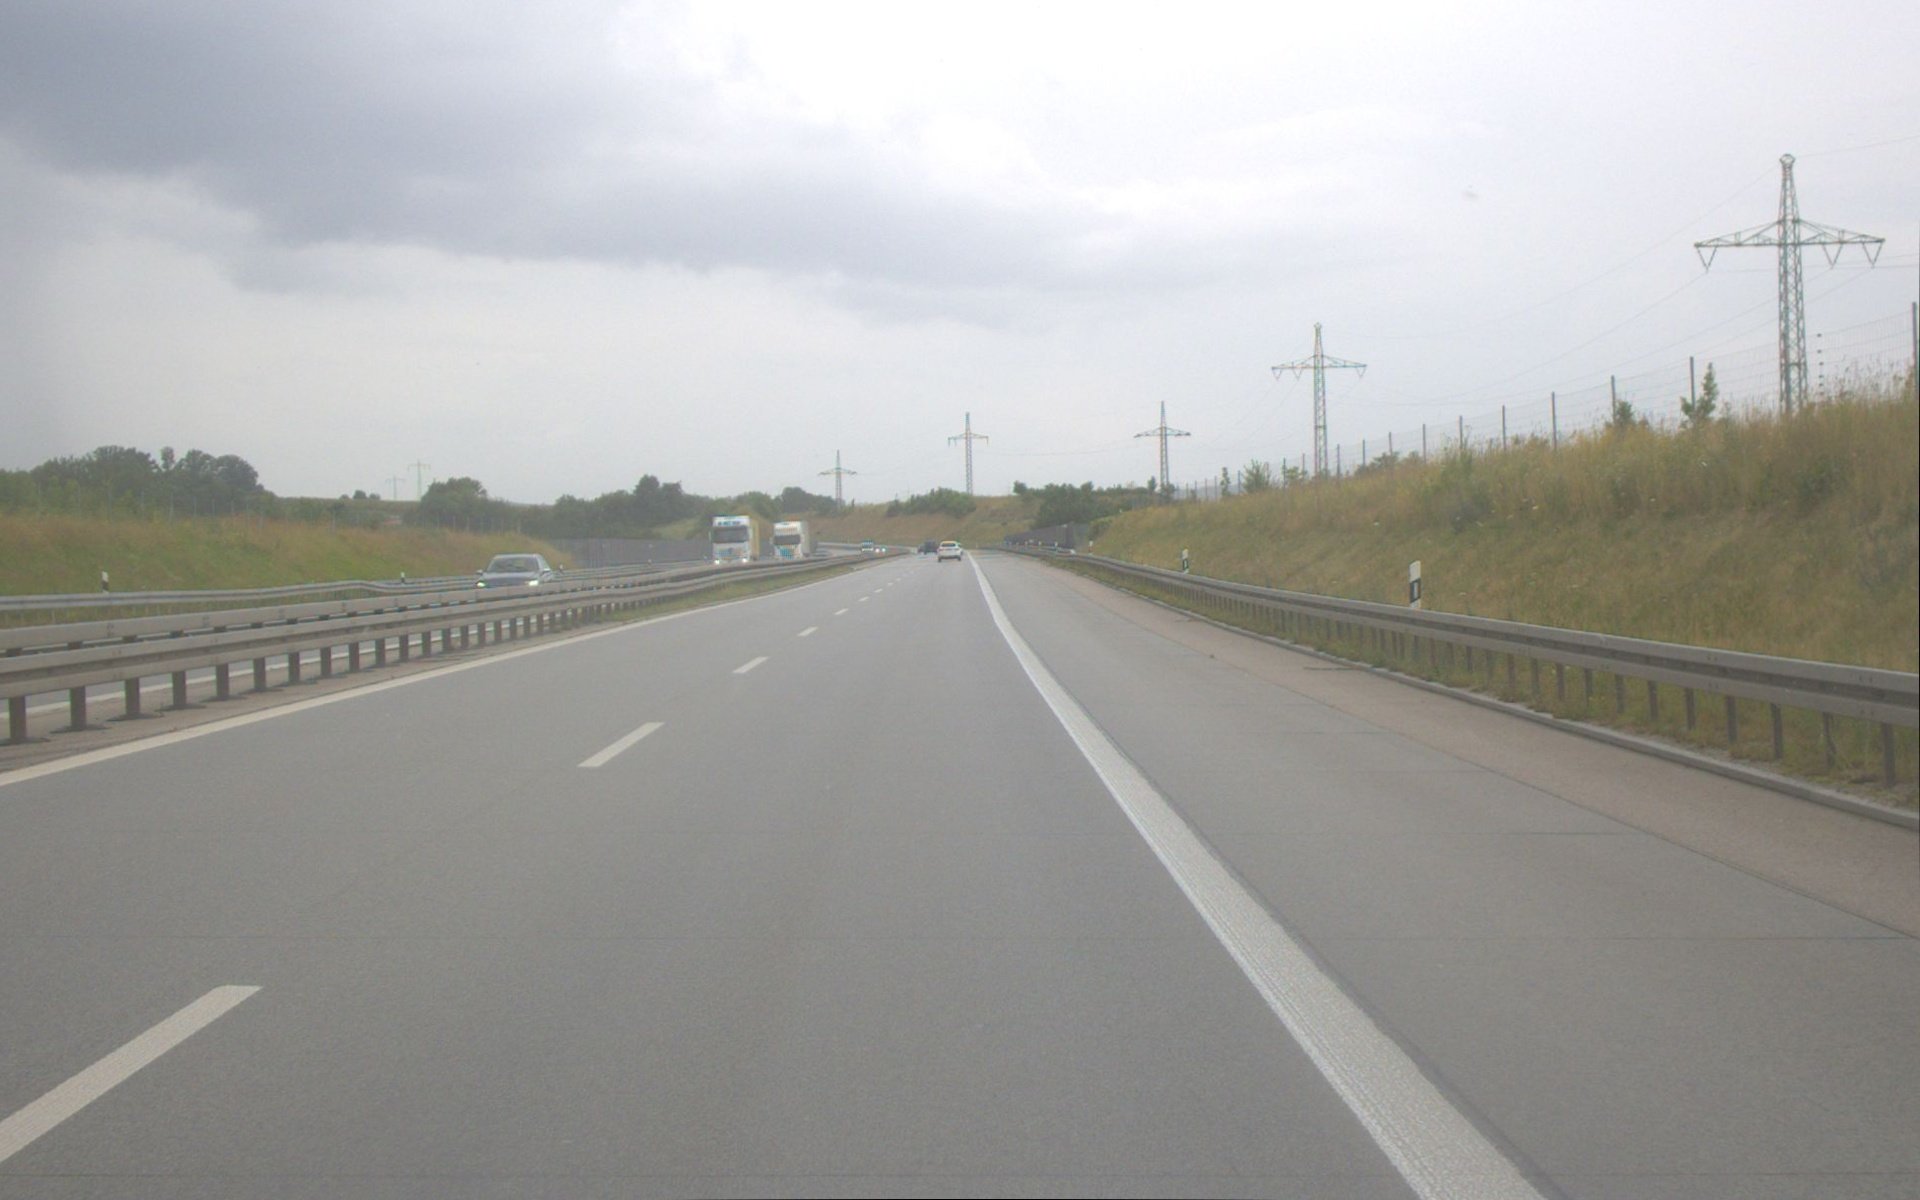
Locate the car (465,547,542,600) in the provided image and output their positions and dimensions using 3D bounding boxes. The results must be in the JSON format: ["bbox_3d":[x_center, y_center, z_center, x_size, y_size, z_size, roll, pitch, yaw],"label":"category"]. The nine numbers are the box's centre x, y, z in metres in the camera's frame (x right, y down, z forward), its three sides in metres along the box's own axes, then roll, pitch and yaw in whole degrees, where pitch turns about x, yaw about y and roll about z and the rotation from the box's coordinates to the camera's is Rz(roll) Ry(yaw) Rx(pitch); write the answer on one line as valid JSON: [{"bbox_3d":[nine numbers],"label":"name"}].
[{"bbox_3d":[-12.622,-0.744,95.308,1.763,1.419,4.001,-1,1,-3],"label":"car"}]
